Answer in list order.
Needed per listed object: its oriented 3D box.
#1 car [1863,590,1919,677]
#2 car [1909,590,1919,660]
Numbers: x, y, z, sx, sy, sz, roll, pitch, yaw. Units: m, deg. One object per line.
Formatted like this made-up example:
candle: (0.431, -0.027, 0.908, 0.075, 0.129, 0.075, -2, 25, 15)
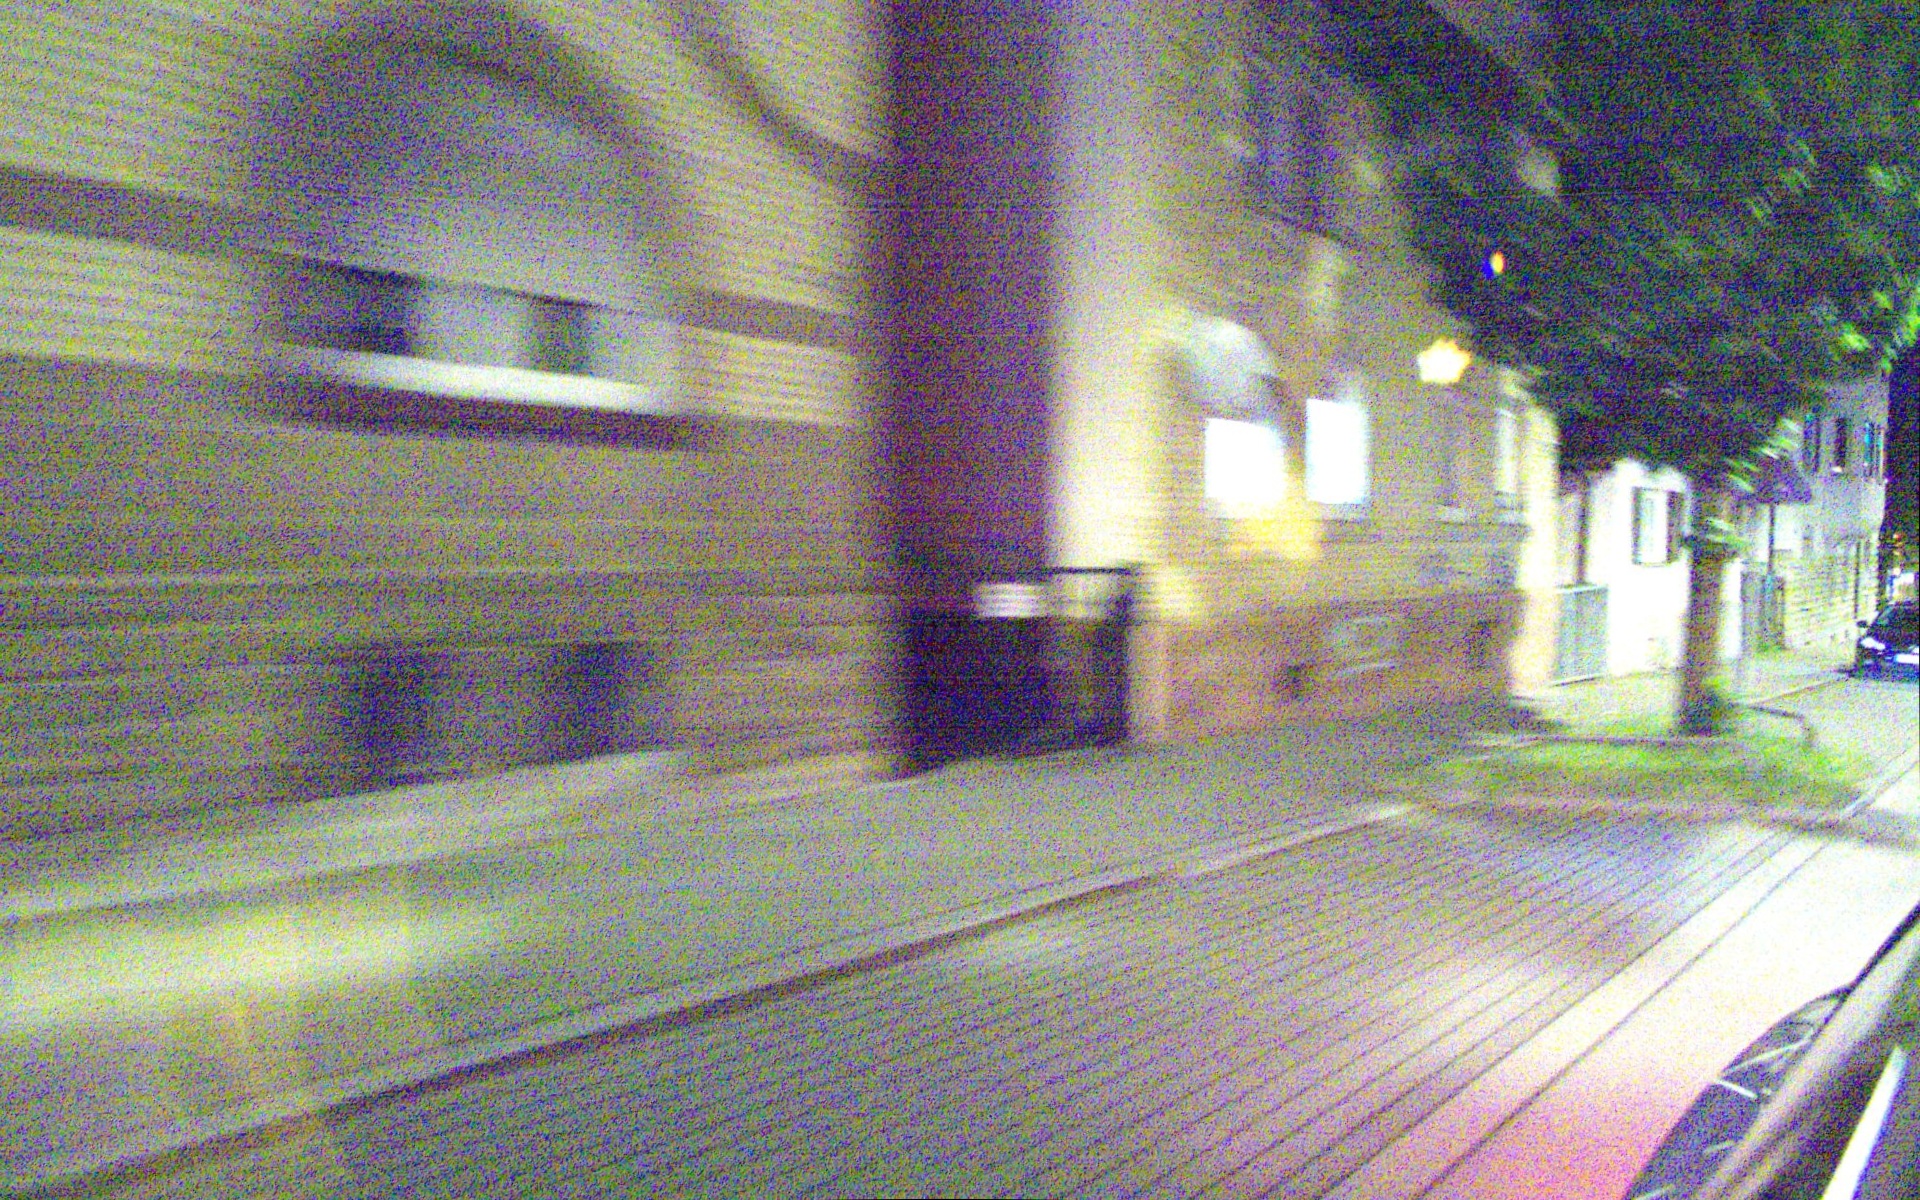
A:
car: (18.108, 0.585, 18.612, 3.950, 1.465, 1.774, 0, 2, -42)
car: (22.278, 0.559, 22.050, 4.565, 1.434, 1.849, -1, 5, -42)
